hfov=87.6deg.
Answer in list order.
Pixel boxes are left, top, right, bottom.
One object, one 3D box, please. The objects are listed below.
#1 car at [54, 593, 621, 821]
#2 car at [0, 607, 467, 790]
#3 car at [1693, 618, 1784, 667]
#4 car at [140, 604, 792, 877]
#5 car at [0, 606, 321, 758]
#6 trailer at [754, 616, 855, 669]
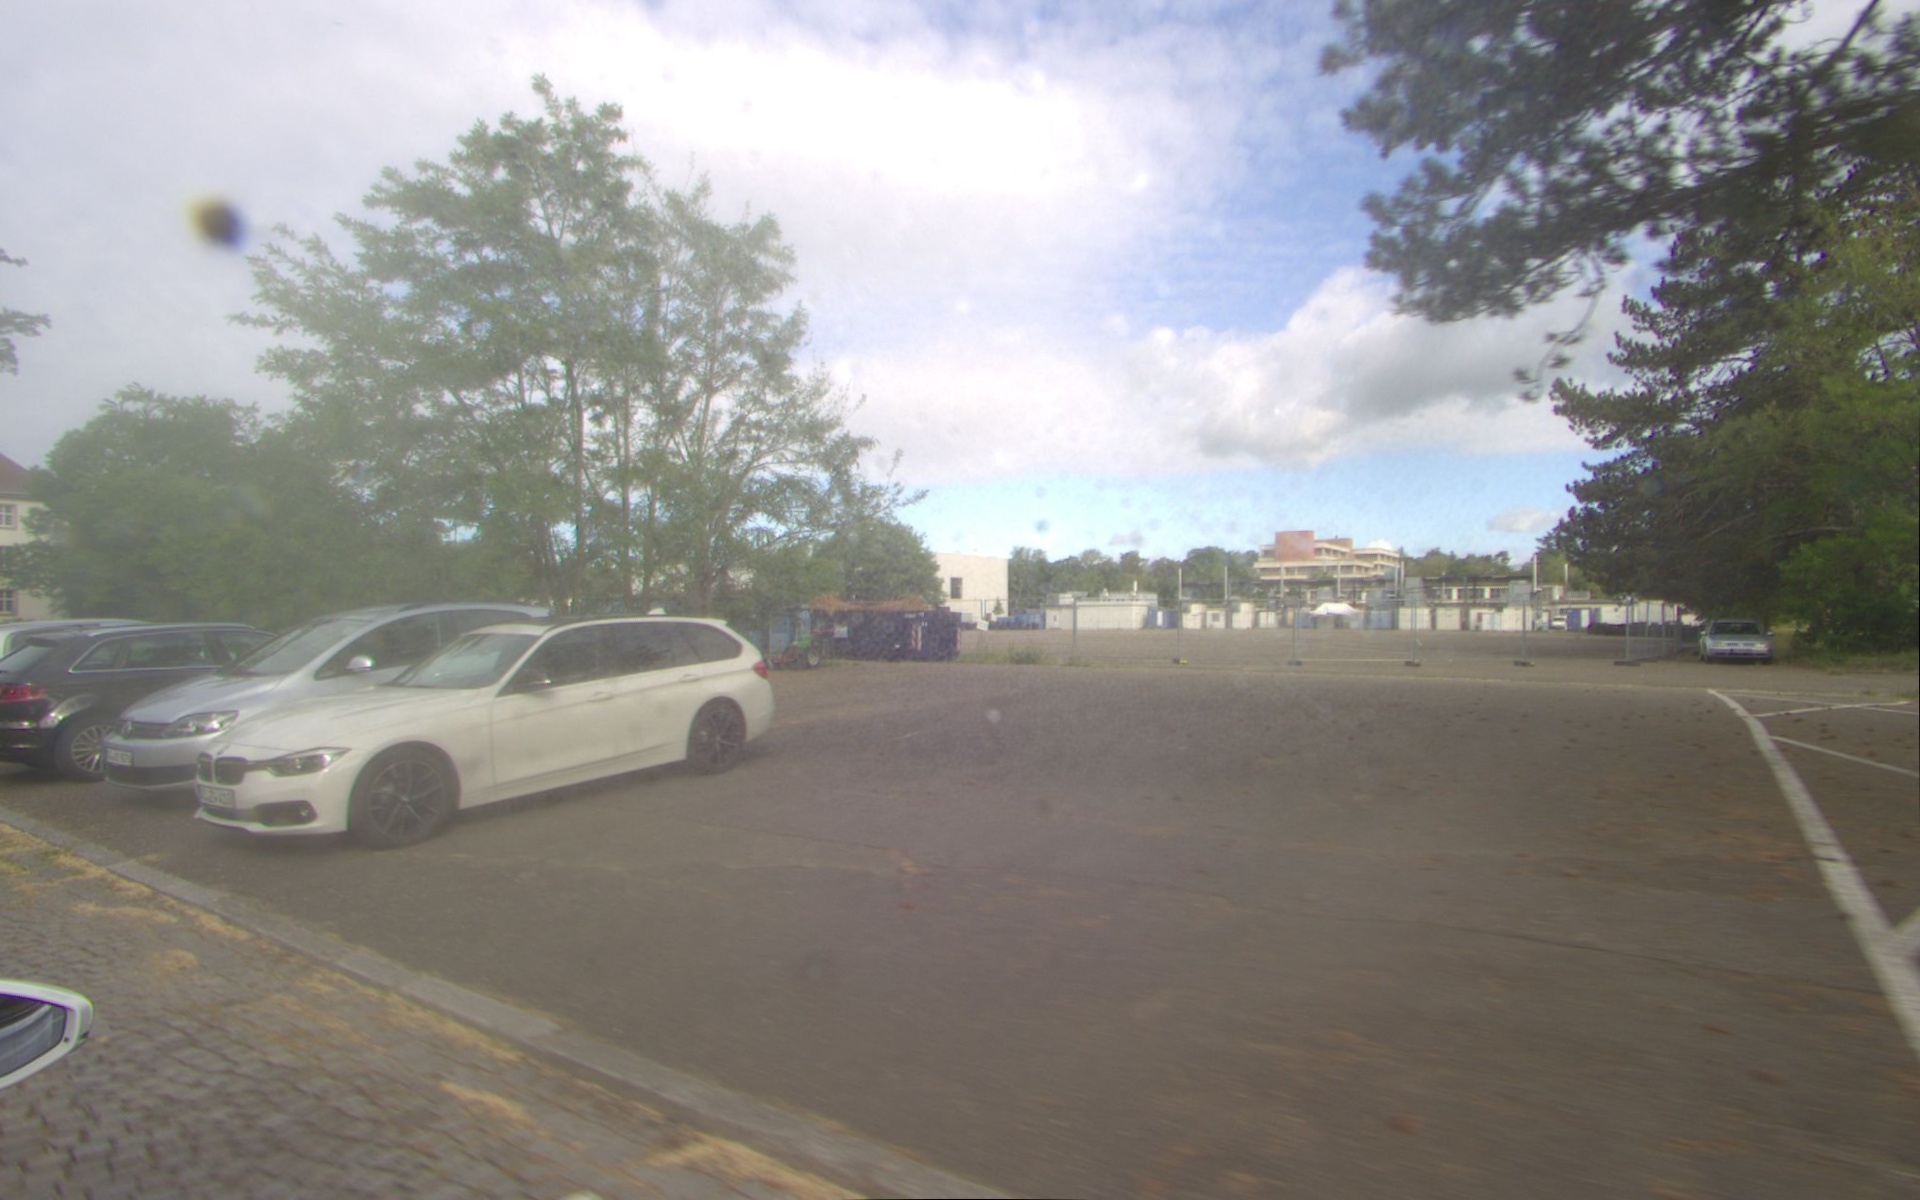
[{"bbox_3d":[-5.673,0.802,9.779,1.800,1.596,4.321,-1,1,30],"label":"car"},{"bbox_3d":[-8.035,0.882,11.027,1.771,1.425,4.353,1,2,34],"label":"car"},{"bbox_3d":[25.602,1.342,33.054,1.837,1.493,4.131,0,-1,31],"label":"car"},{"bbox_3d":[-3.615,0.853,8.285,1.801,1.445,4.538,-1,1,32],"label":"car"},{"bbox_3d":[-10.352,0.898,12.365,1.718,1.500,3.762,1,2,32],"label":"car"},{"bbox_3d":[-3.680,1.014,23.951,1.128,1.185,2.308,-1,-2,34],"label":"trailer"}]
